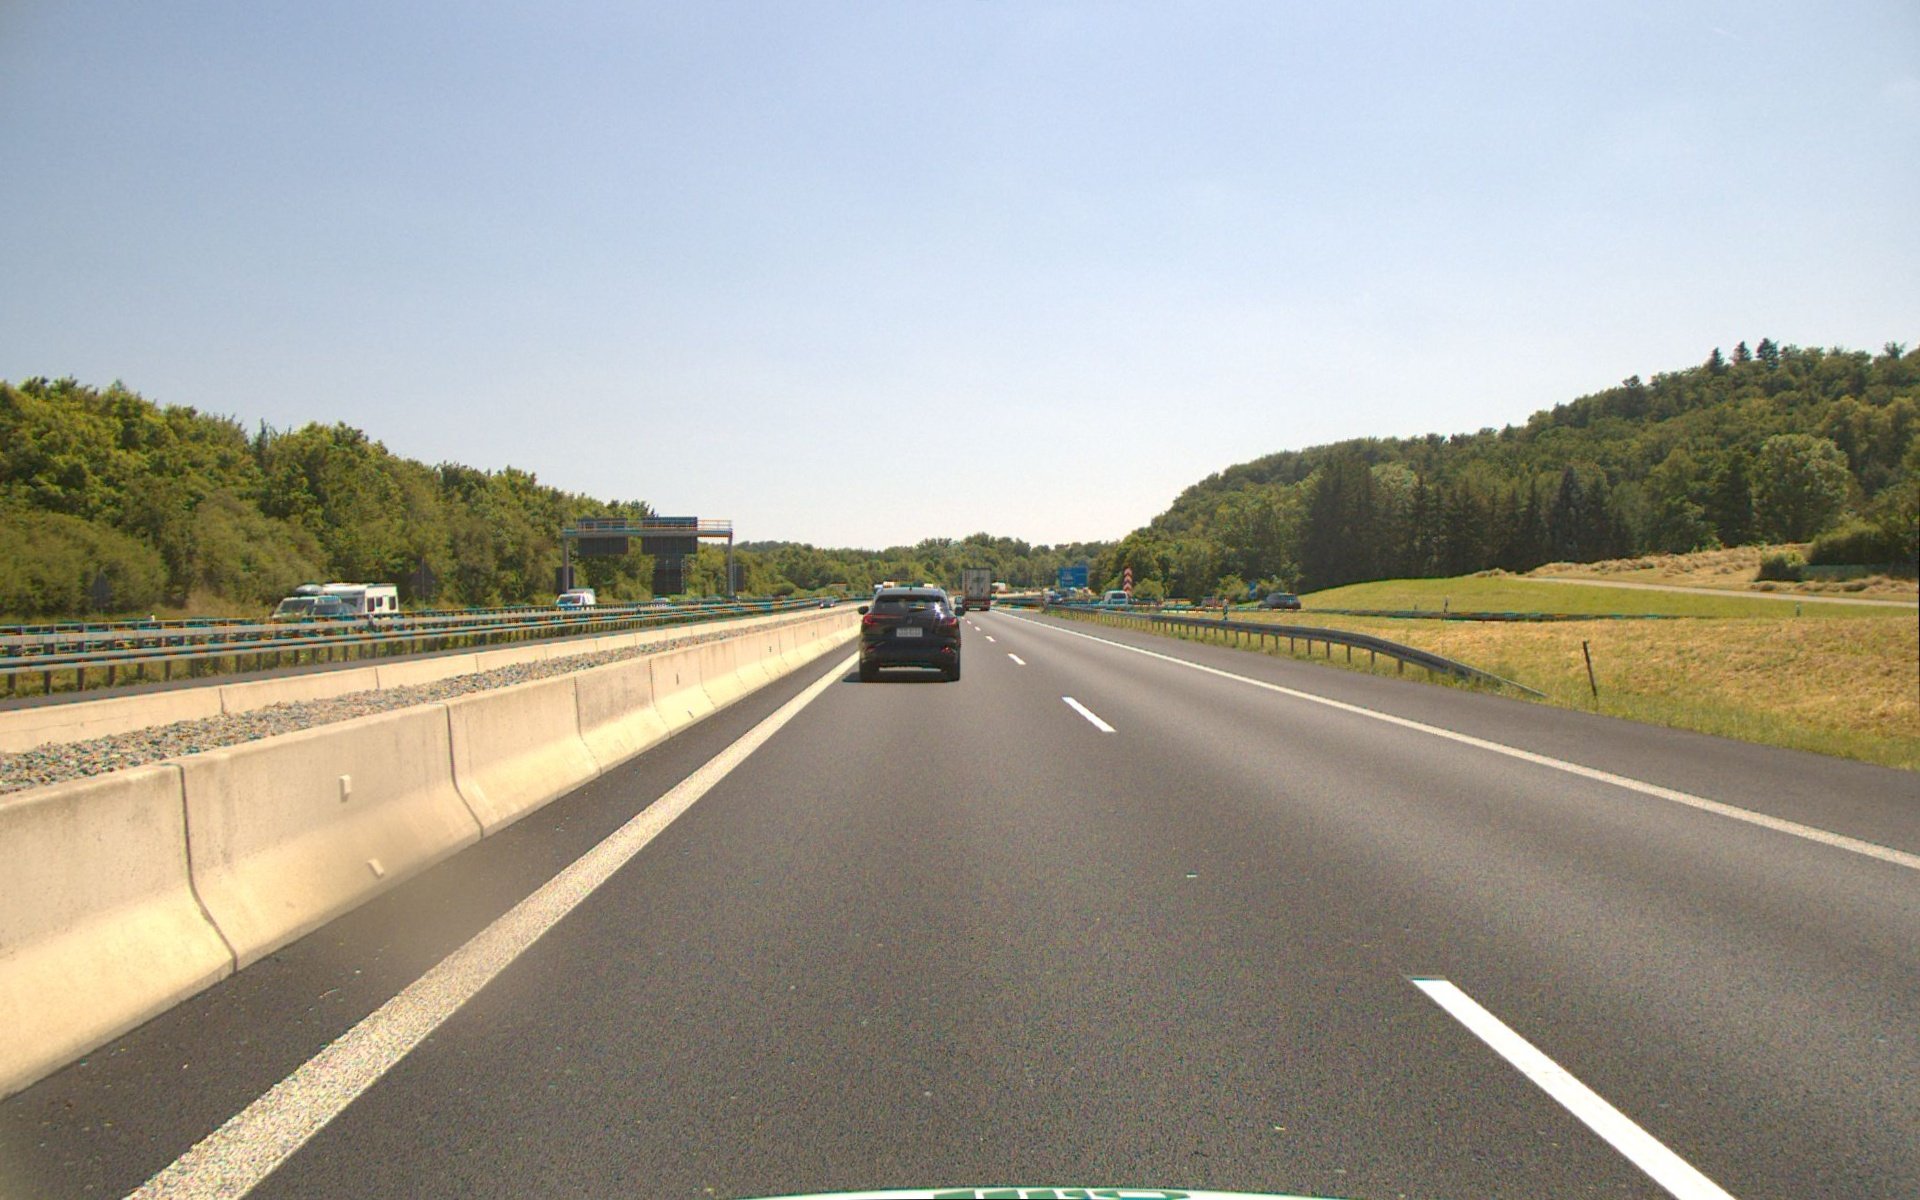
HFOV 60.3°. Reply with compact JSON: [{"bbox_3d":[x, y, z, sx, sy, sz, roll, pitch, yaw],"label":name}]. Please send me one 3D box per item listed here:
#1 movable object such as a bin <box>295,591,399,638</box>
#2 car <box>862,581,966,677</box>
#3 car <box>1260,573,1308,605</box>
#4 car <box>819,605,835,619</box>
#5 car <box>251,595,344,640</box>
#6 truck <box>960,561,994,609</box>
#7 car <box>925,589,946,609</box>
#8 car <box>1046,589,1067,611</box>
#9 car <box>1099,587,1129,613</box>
[{"bbox_3d":[-28.303,0.678,76.662,2.456,2.049,6.777,1,0,-2],"label":"movable object such as a bin"},{"bbox_3d":[-0.903,0.508,30.130,1.744,1.605,3.997,1,0,-3],"label":"car"},{"bbox_3d":[21.775,-0.718,111.171,1.956,2.049,3.993,-2,0,-7],"label":"car"},{"bbox_3d":[-15.200,1.369,189.318,1.797,1.561,4.156,1,0,-4],"label":"car"},{"bbox_3d":[-28.315,0.724,70.835,1.953,1.837,4.817,-2,0,0],"label":"car"},{"bbox_3d":[1.616,-1.415,163.002,2.970,4.496,12.015,1,0,-1],"label":"truck"},{"bbox_3d":[-2.904,-0.095,195.618,2.093,2.255,5.089,1,0,2],"label":"car"},{"bbox_3d":[9.327,-0.010,160.844,1.952,2.049,4.001,1,0,2],"label":"car"},{"bbox_3d":[12.505,-0.010,134.700,1.953,2.049,3.999,-2,0,-1],"label":"car"}]
